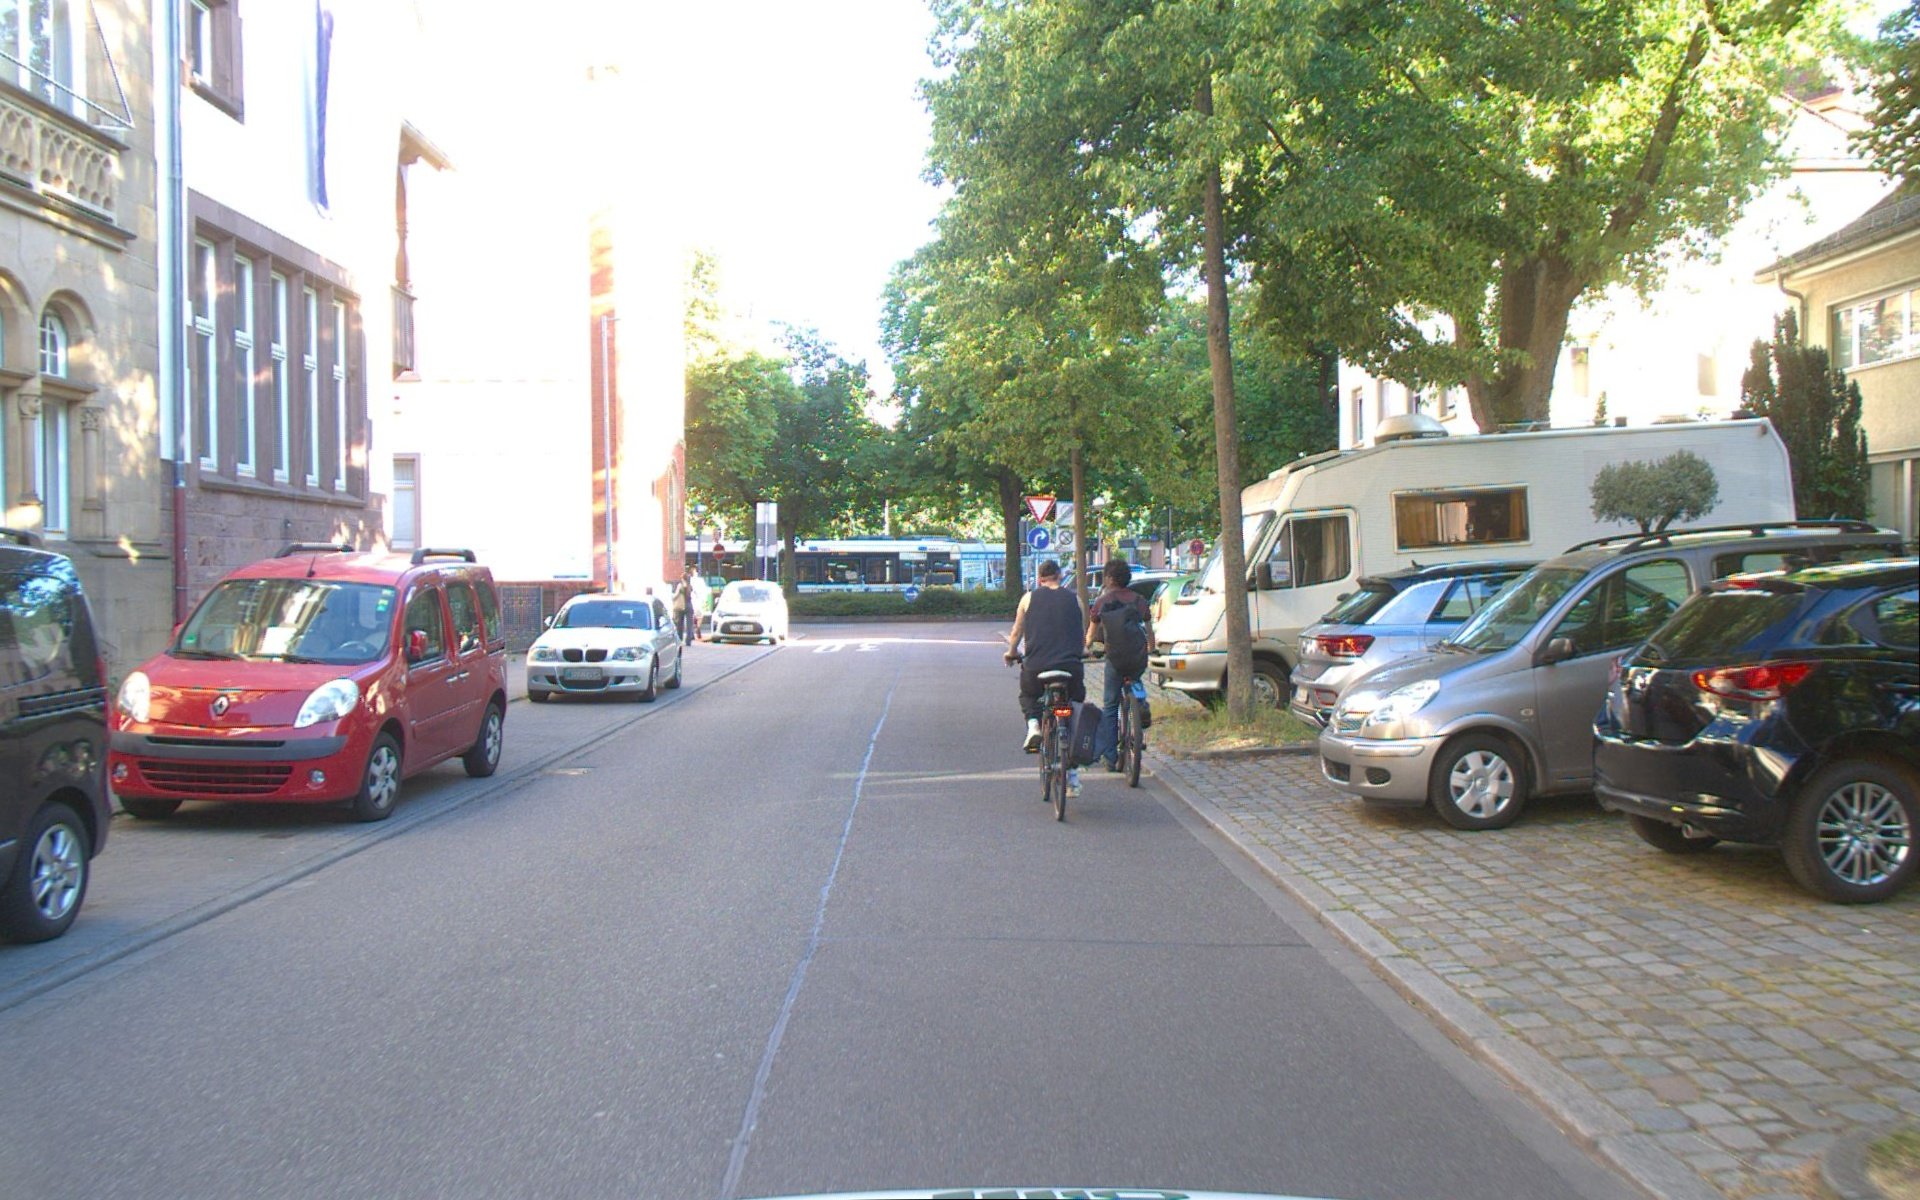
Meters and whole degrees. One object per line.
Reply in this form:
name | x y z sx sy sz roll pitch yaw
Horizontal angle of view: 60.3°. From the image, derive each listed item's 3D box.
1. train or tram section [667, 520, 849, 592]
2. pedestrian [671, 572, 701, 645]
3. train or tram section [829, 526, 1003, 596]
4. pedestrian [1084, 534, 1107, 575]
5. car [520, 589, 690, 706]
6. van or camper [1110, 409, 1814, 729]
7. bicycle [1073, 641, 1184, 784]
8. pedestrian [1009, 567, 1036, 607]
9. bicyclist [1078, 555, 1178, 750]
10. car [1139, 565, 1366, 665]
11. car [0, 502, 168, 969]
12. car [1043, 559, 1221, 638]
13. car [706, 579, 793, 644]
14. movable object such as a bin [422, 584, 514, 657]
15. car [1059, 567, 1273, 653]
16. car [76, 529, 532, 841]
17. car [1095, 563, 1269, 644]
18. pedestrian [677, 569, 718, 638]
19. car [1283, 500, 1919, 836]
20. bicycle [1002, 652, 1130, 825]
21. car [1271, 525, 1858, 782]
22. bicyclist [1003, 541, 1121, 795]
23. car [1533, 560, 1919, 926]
train or tram section | -9.791 -2.095 80.270 8.305 3.233 2.841 1 0 -24
pedestrian | -6.242 0.194 37.663 0.590 1.633 0.851 -1 0 -15
train or tram section | -2.209 -1.944 83.654 8.305 3.257 2.841 1 0 -24
pedestrian | 5.779 -1.945 70.582 0.896 1.713 0.781 -1 1 9
car | -4.919 0.598 23.446 1.709 1.492 4.101 0 1 -3
van or camper | 5.280 -0.351 18.098 6.936 3.131 2.463 -1 0 -4
bicycle | 1.376 0.900 13.870 0.660 1.072 2.060 -1 -1 -1
pedestrian | 3.017 -0.631 79.498 1.003 1.930 0.906 -1 1 -23
bicyclist | 1.380 0.417 13.719 0.658 1.541 1.068 -1 -1 -2
car | 4.940 0.233 28.238 3.517 1.531 1.677 -2 1 -2
car | -4.731 0.557 5.838 1.734 1.884 4.541 0 1 -1
car | 4.190 -0.065 40.738 4.026 1.742 2.022 -2 1 -6
car | -5.172 0.256 41.050 1.670 1.511 3.797 1 1 -1
movable object such as a bin | -9.147 0.375 30.802 1.346 1.321 0.969 0 0 9
car | 4.112 0.192 33.430 4.022 1.436 1.792 -4 1 -1
car | -4.691 0.513 12.581 1.762 1.940 4.324 1 1 -1
car | 4.788 0.069 36.092 3.616 1.680 1.705 -1 1 2
pedestrian | -6.419 0.080 40.479 0.849 1.672 0.860 -1 0 -1
car | 4.218 0.384 10.664 3.835 1.774 1.729 -3 0 -1
bicycle | 0.707 0.922 11.648 0.722 1.030 2.061 1 0 -1
car | 4.600 0.396 13.072 3.881 1.626 1.903 -4 0 1
bicyclist | 0.701 0.453 11.674 0.737 1.711 0.913 -1 0 -1
car | 5.076 0.544 8.176 3.801 1.498 1.785 -3 0 -6
